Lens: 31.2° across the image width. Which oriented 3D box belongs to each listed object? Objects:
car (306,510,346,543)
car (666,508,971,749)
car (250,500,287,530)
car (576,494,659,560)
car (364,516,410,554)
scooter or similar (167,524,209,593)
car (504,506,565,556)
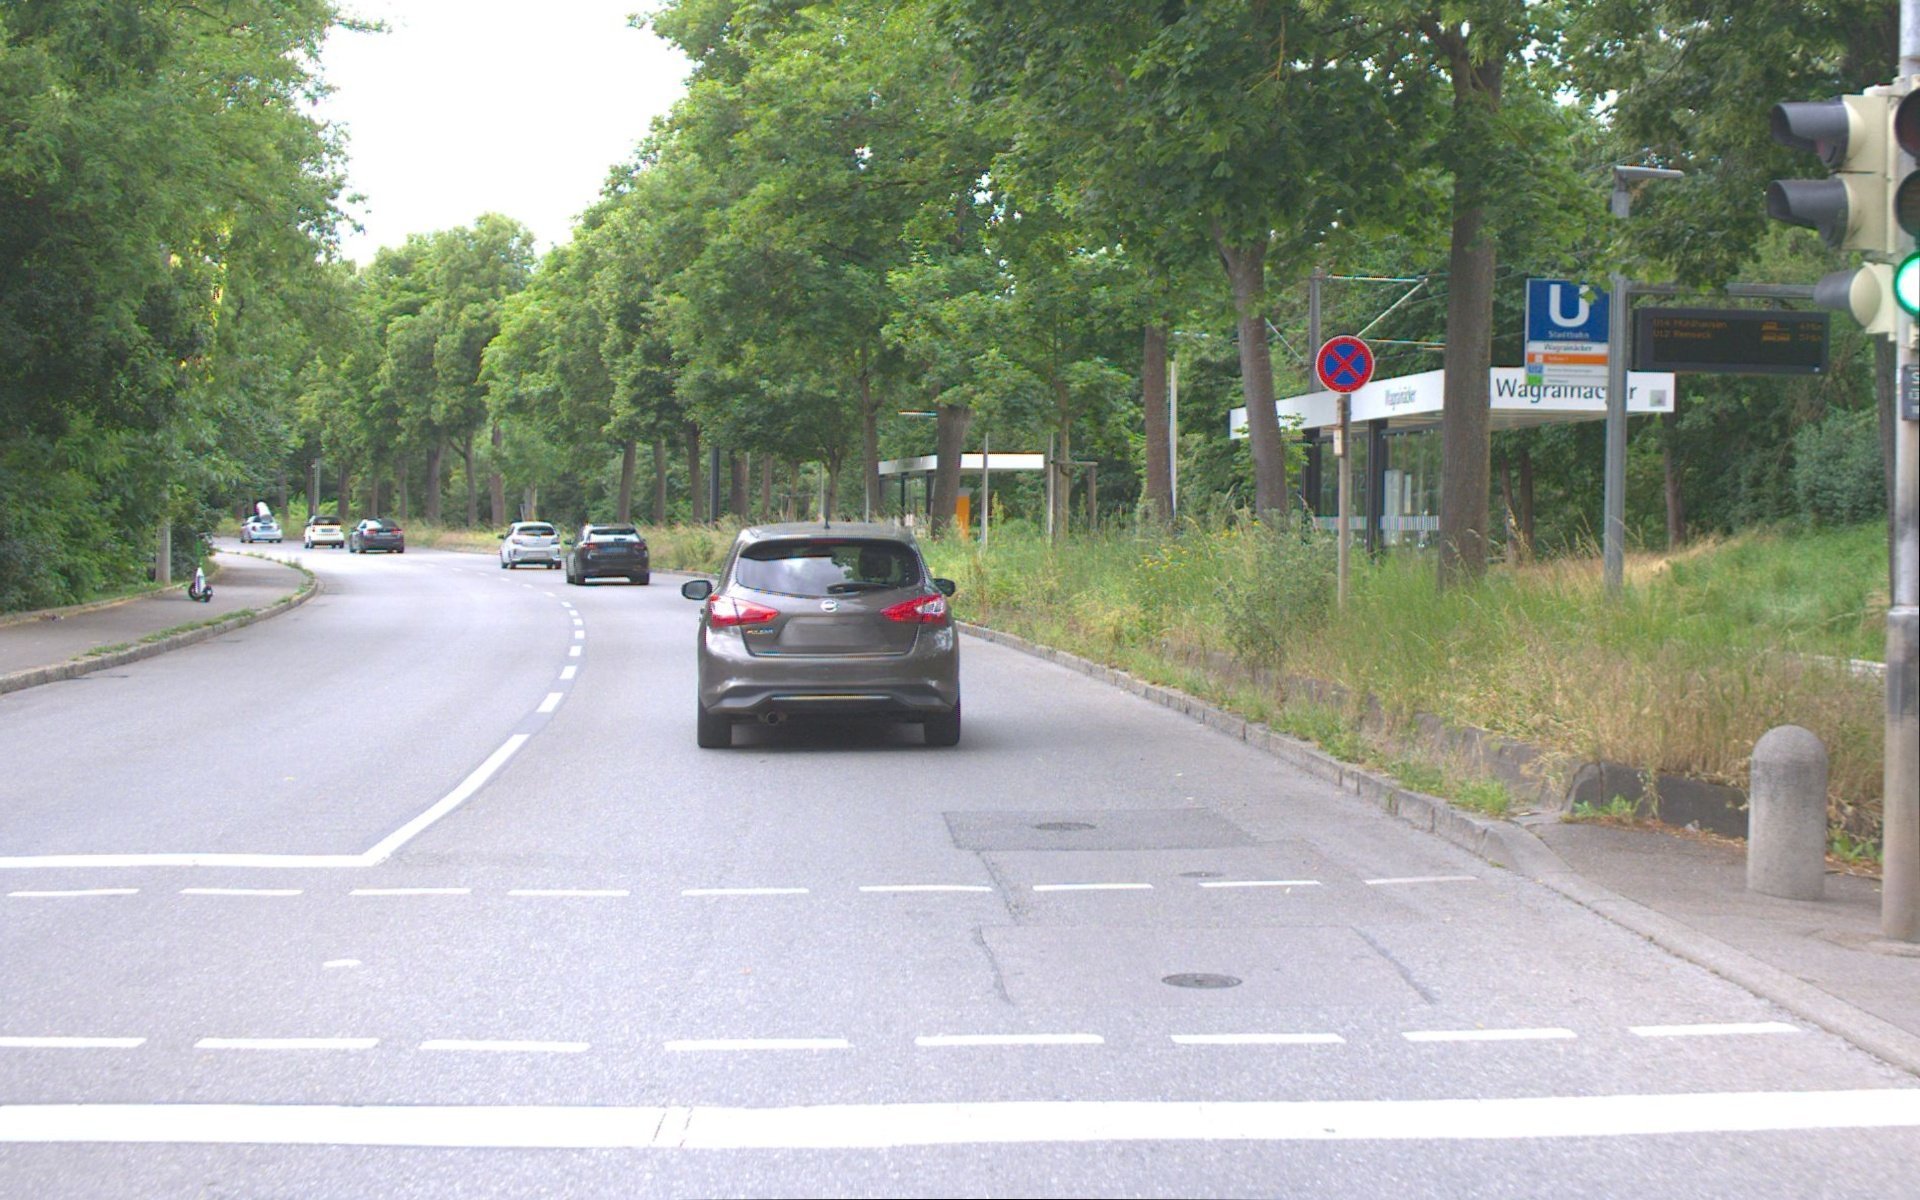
[{"bbox_3d":[-29.827,-3.474,161.692,1.775,1.467,4.002,1,2,-10],"label":"car"},{"bbox_3d":[-1.082,0.128,24.317,1.815,1.503,4.001,0,2,-7],"label":"car"},{"bbox_3d":[-36.570,-4.525,181.884,1.775,1.467,4.001,2,1,-11],"label":"car"},{"bbox_3d":[-8.196,-1.775,82.600,1.775,1.467,4.001,3,1,-4],"label":"car"},{"bbox_3d":[-24.386,-2.776,146.267,1.775,1.467,4.001,4,1,-10],"label":"car"},{"bbox_3d":[-13.546,-0.737,60.316,0.364,1.180,1.298,1,1,-27],"label":"scooter or similar"},{"bbox_3d":[-13.404,-2.197,108.411,1.775,1.467,4.001,3,1,-6],"label":"car"}]
